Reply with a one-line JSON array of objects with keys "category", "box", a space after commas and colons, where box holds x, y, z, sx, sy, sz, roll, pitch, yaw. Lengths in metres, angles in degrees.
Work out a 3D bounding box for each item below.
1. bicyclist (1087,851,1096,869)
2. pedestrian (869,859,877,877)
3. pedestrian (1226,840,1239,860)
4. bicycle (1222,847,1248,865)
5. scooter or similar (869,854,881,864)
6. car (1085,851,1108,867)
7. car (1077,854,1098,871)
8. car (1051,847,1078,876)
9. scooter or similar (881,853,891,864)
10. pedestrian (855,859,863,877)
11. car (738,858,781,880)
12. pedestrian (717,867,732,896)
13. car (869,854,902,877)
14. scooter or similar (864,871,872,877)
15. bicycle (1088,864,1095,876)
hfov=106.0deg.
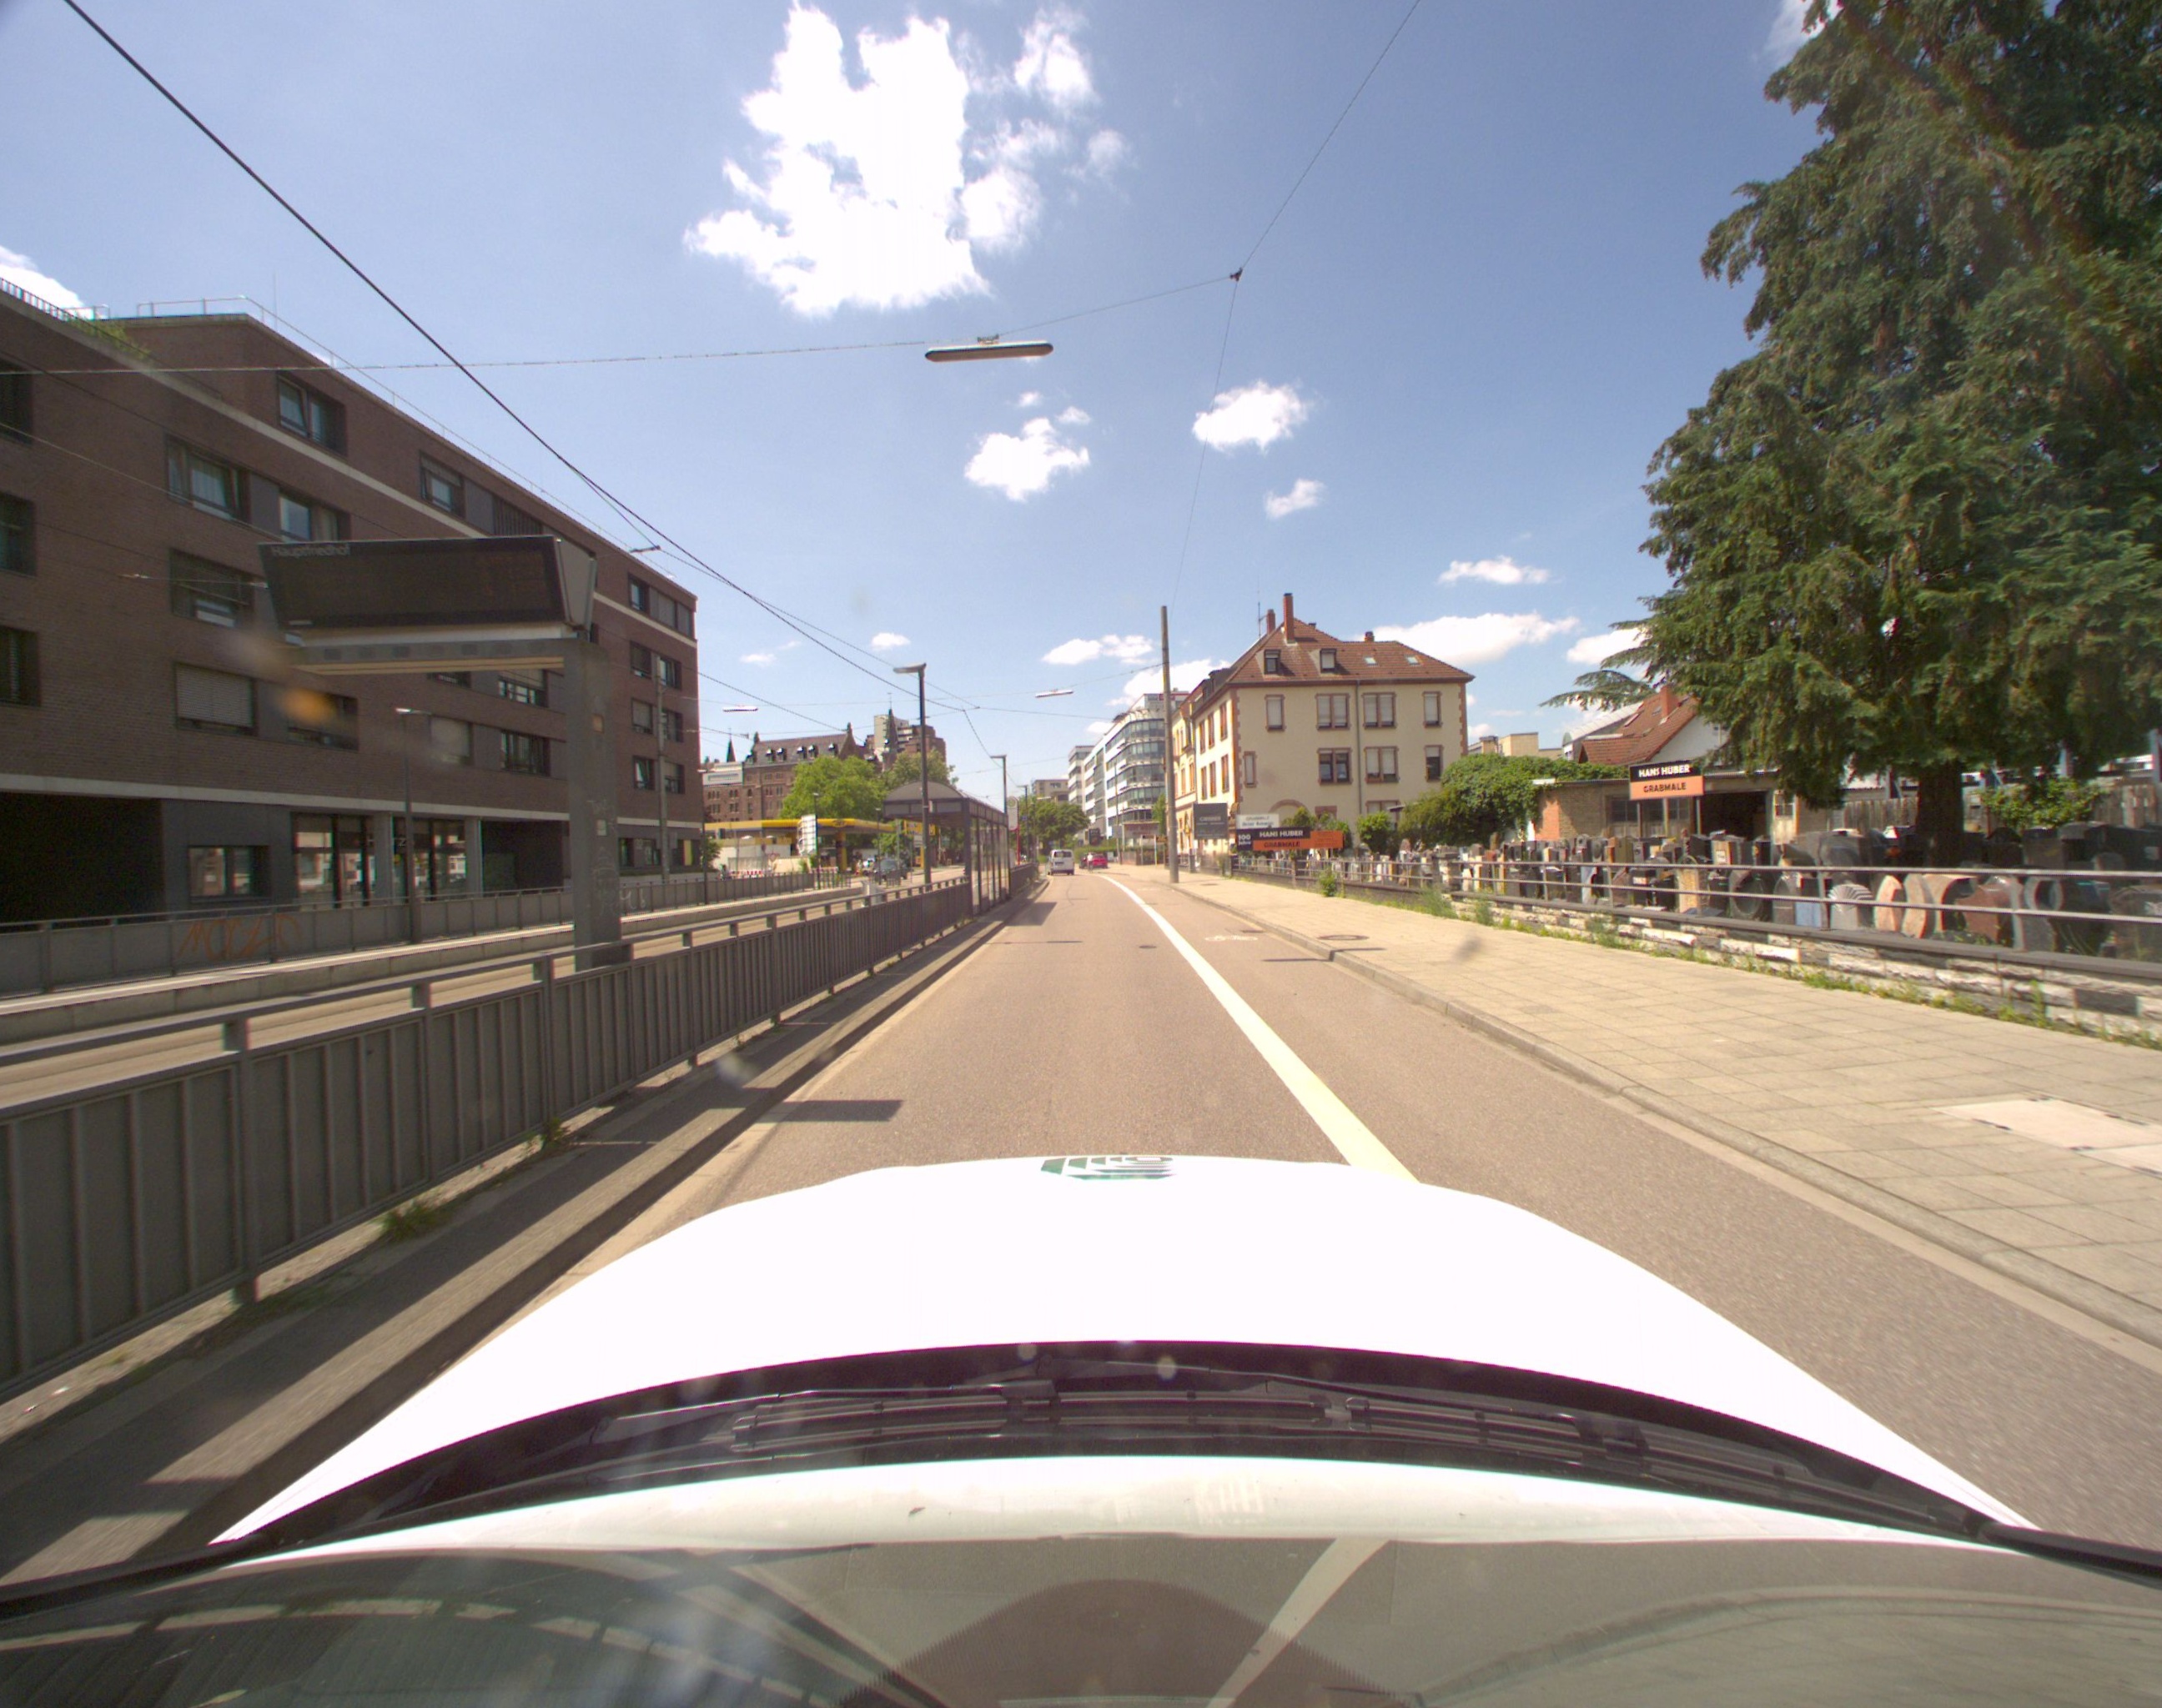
[{"category": "bicyclist", "box": [0.840, 0.481, 65.662, 0.590, 1.397, 0.841, -1, 0, -3]}, {"category": "pedestrian", "box": [-19.721, 1.300, 77.310, 0.578, 1.671, 0.667, -1, 0, 2]}, {"category": "pedestrian", "box": [8.567, -0.228, 46.092, 0.534, 1.054, 0.484, -3, -2, -3]}, {"category": "bicycle", "box": [8.705, 0.116, 46.083, 1.309, 0.940, 0.357, -3, -2, -2]}, {"category": "scooter or similar", "box": [-30.305, 0.781, 119.890, 1.307, 1.467, 1.060, -1, -1, 5]}, {"category": "car", "box": [1.516, 0.483, 80.526, 1.710, 1.452, 4.063, -3, 0, -6]}, {"category": "car", "box": [0.690, 0.900, 86.692, 1.859, 1.687, 4.994, -2, 0, -4]}, {"category": "car", "box": [-1.227, 0.514, 59.274, 1.749, 2.013, 3.995, -3, 1, -4]}, {"category": "scooter or similar", "box": [-28.589, 0.657, 119.562, 1.169, 1.467, 1.058, -1, -1, -1]}, {"category": "pedestrian", "box": [-20.798, 1.338, 76.418, 0.551, 1.658, 0.672, -1, 0, 1]}, {"category": "car", "box": [-27.101, 1.283, 68.509, 2.069, 1.567, 3.952, -3, -2, -41]}, {"category": "pedestrian", "box": [-17.380, 1.334, 39.711, 0.434, 1.384, 0.536, -3, -1, 1]}, {"category": "car", "box": [-14.973, 0.828, 62.375, 1.694, 1.616, 3.754, -3, 0, -3]}, {"category": "scooter or similar", "box": [-20.314, 1.880, 77.652, 0.474, 0.581, 0.632, -1, 0, 4]}, {"category": "bicycle", "box": [0.839, 1.285, 65.760, 0.464, 0.887, 2.048, -1, 0, 0]}]
